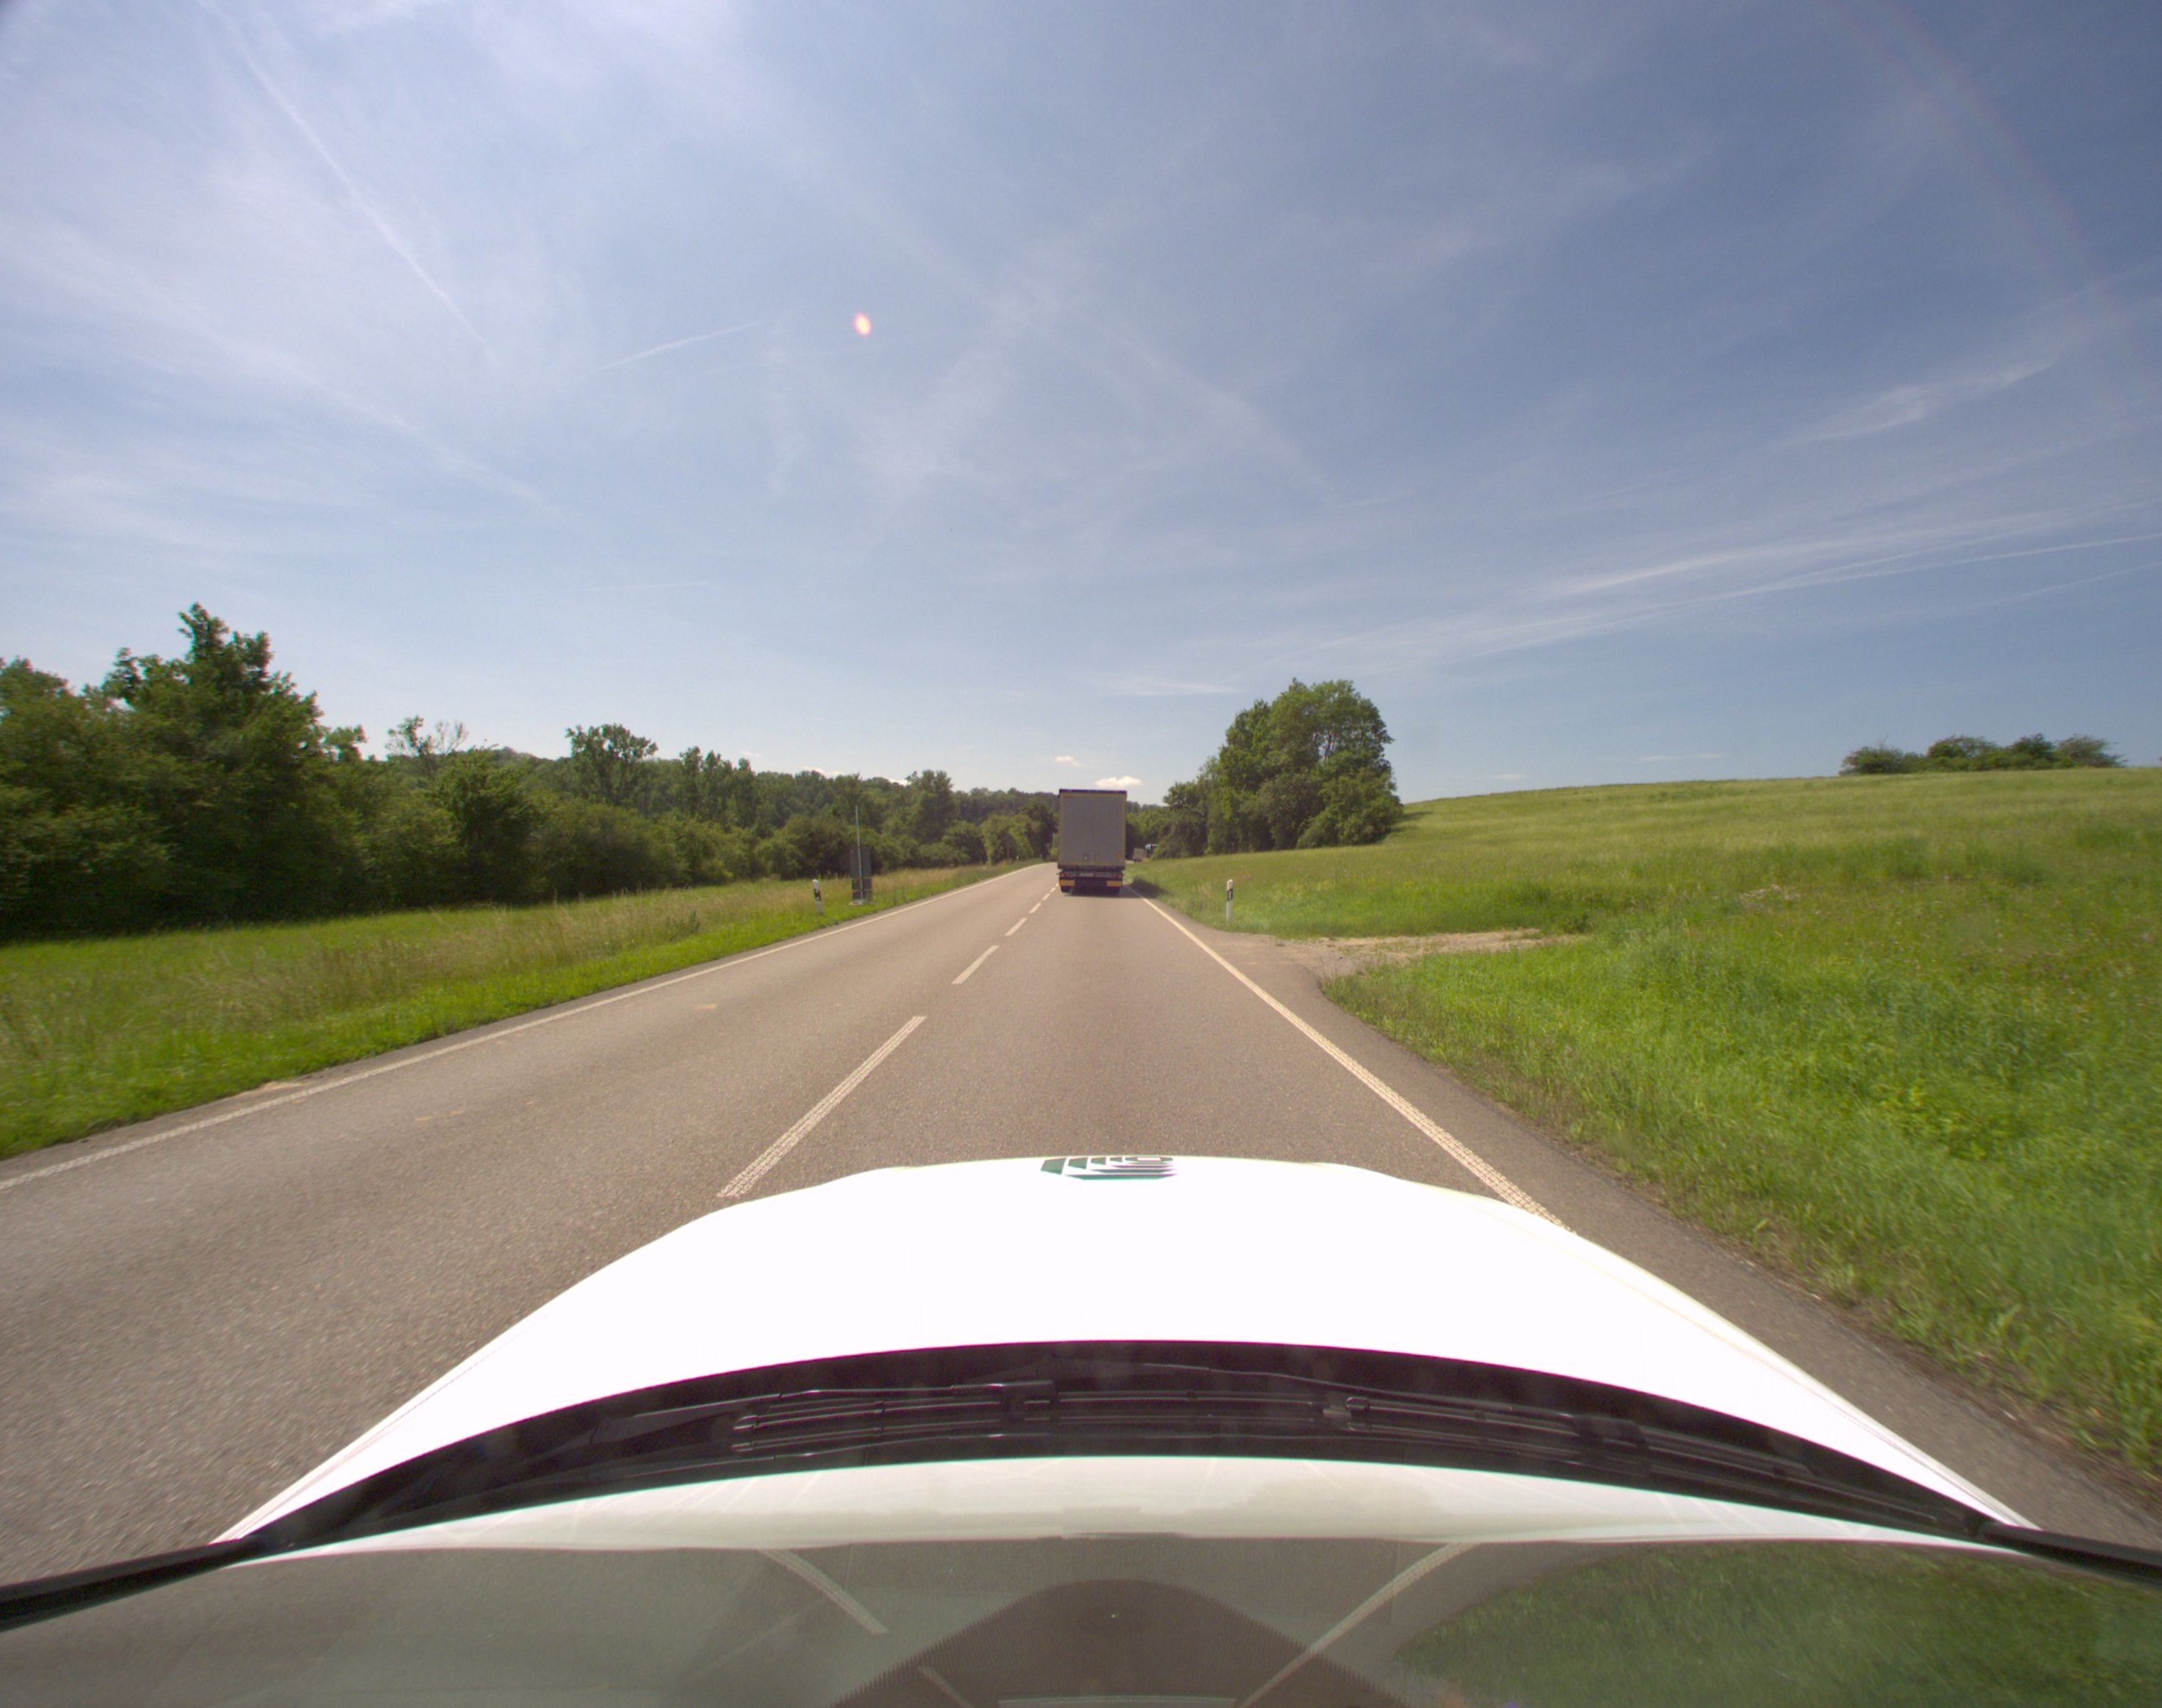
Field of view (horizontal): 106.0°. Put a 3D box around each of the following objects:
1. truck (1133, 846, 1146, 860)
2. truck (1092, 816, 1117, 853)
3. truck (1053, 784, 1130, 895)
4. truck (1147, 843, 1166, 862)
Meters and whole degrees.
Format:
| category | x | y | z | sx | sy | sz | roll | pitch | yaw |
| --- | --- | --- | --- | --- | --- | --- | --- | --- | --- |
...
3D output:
| category | x | y | z | sx | sy | sz | roll | pitch | yaw |
| --- | --- | --- | --- | --- | --- | --- | --- | --- | --- |
| truck | 12.486 | -0.245 | 172.944 | 2.341 | 2.825 | 5.071 | -2 | 0 | 8 |
| truck | 3.264 | -2.755 | 112.187 | 3.093 | 4.705 | 16.596 | 1 | 2 | 1 |
| truck | 0.332 | -0.494 | 37.897 | 2.793 | 4.068 | 15.320 | 1 | 0 | 0 |
| truck | 18.243 | -0.284 | 196.034 | 3.283 | 4.386 | 13.449 | -2 | -1 | 10 |
